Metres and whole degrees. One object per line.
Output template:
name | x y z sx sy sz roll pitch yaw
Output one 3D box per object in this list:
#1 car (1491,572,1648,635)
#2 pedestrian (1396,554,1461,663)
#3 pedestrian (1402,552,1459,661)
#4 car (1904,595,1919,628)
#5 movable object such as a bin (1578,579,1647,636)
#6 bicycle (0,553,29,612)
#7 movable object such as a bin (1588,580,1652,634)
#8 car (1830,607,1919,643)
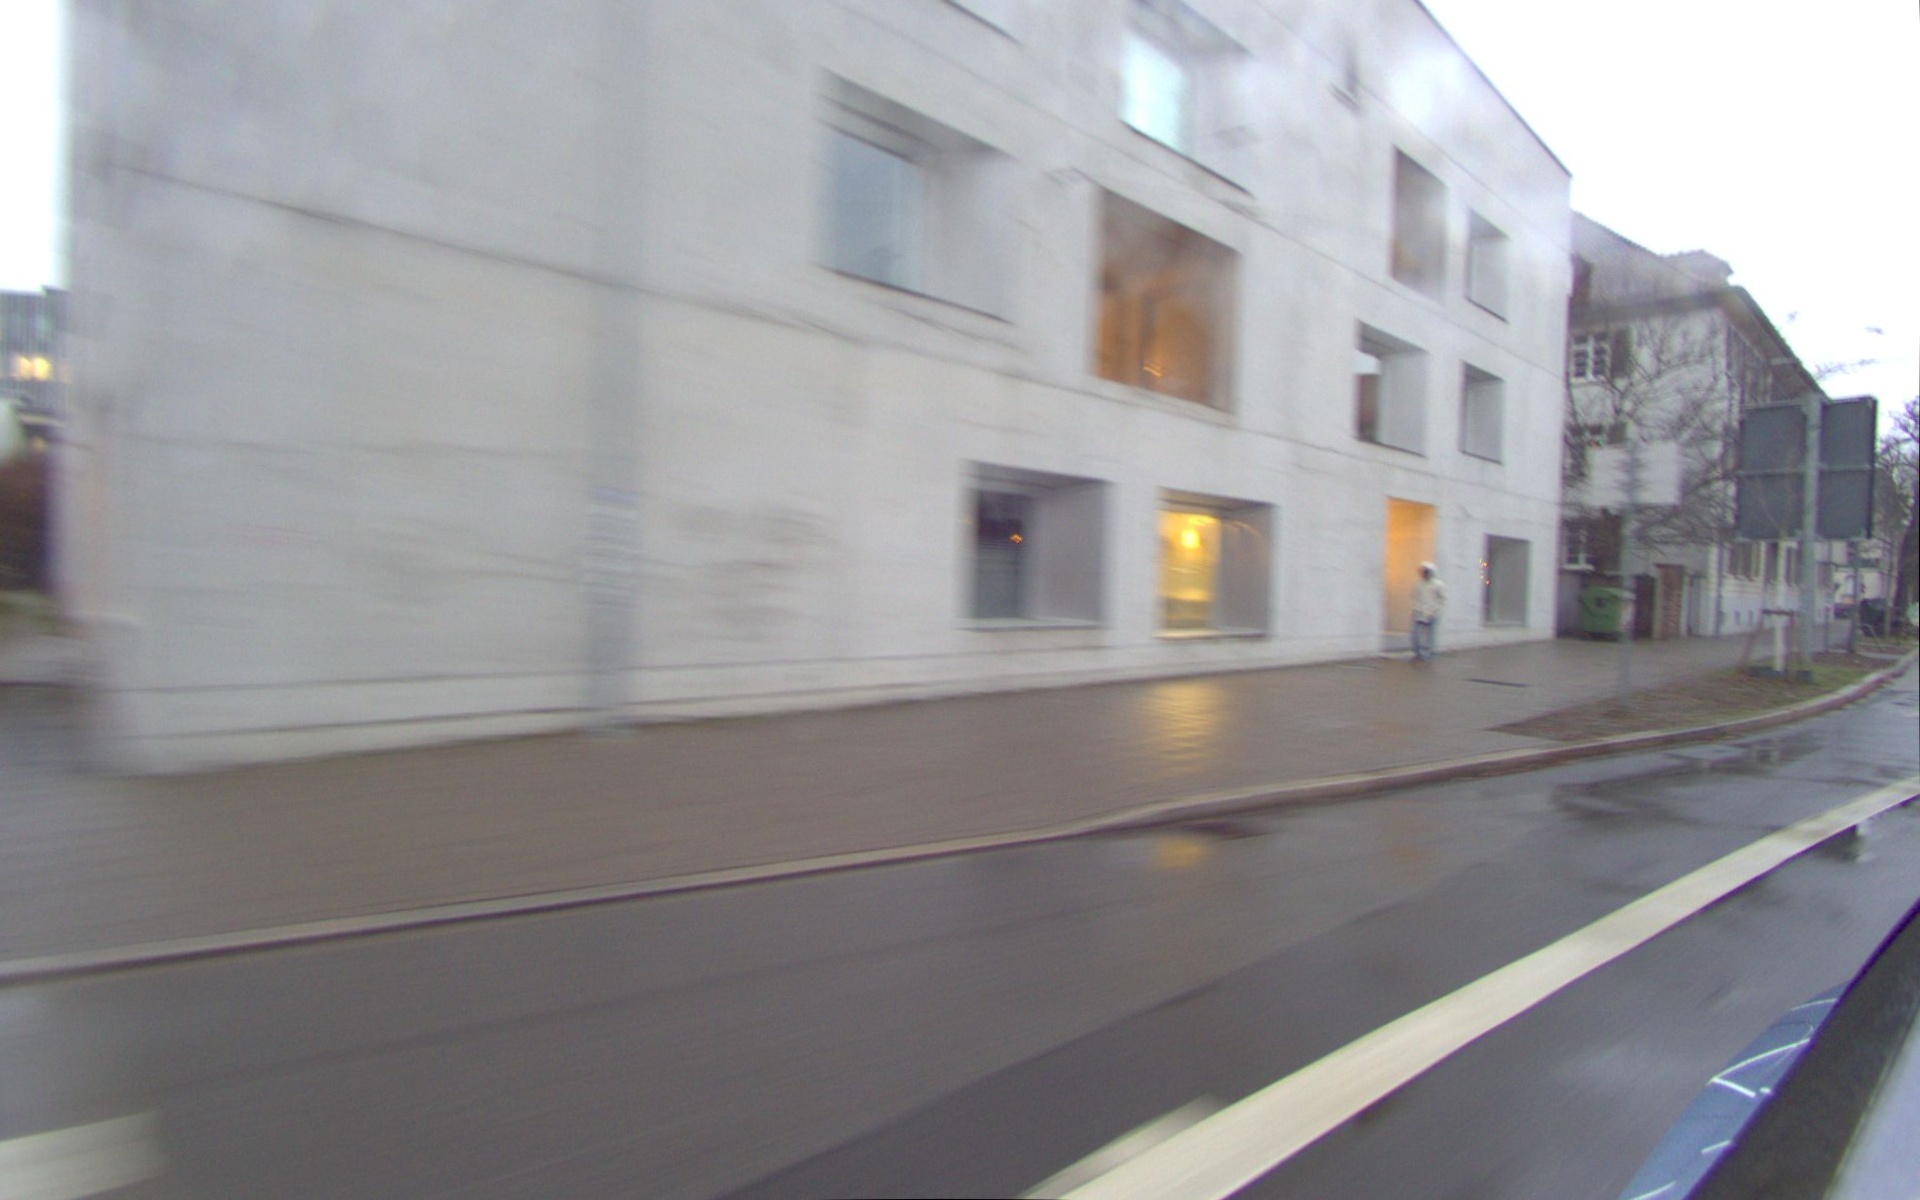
car | 17.112 0.100 28.503 1.703 1.668 3.452 0 0 -43
pedestrian | 8.372 0.130 18.075 0.706 1.881 0.772 0 2 -41
pedestrian | 8.393 0.094 18.048 0.648 1.882 0.657 0 3 -42
car | 46.729 0.532 48.560 3.439 1.535 1.658 0 0 -39
movable object such as a bin | 17.780 0.190 27.567 1.395 1.463 1.258 0 2 -43
bicycle | -16.724 -0.299 17.041 1.527 0.992 0.408 0 1 -40
movable object such as a bin | 18.897 0.183 28.963 1.257 1.463 1.396 3 2 44
car | 39.239 1.029 42.463 3.824 1.447 1.843 -1 0 31
